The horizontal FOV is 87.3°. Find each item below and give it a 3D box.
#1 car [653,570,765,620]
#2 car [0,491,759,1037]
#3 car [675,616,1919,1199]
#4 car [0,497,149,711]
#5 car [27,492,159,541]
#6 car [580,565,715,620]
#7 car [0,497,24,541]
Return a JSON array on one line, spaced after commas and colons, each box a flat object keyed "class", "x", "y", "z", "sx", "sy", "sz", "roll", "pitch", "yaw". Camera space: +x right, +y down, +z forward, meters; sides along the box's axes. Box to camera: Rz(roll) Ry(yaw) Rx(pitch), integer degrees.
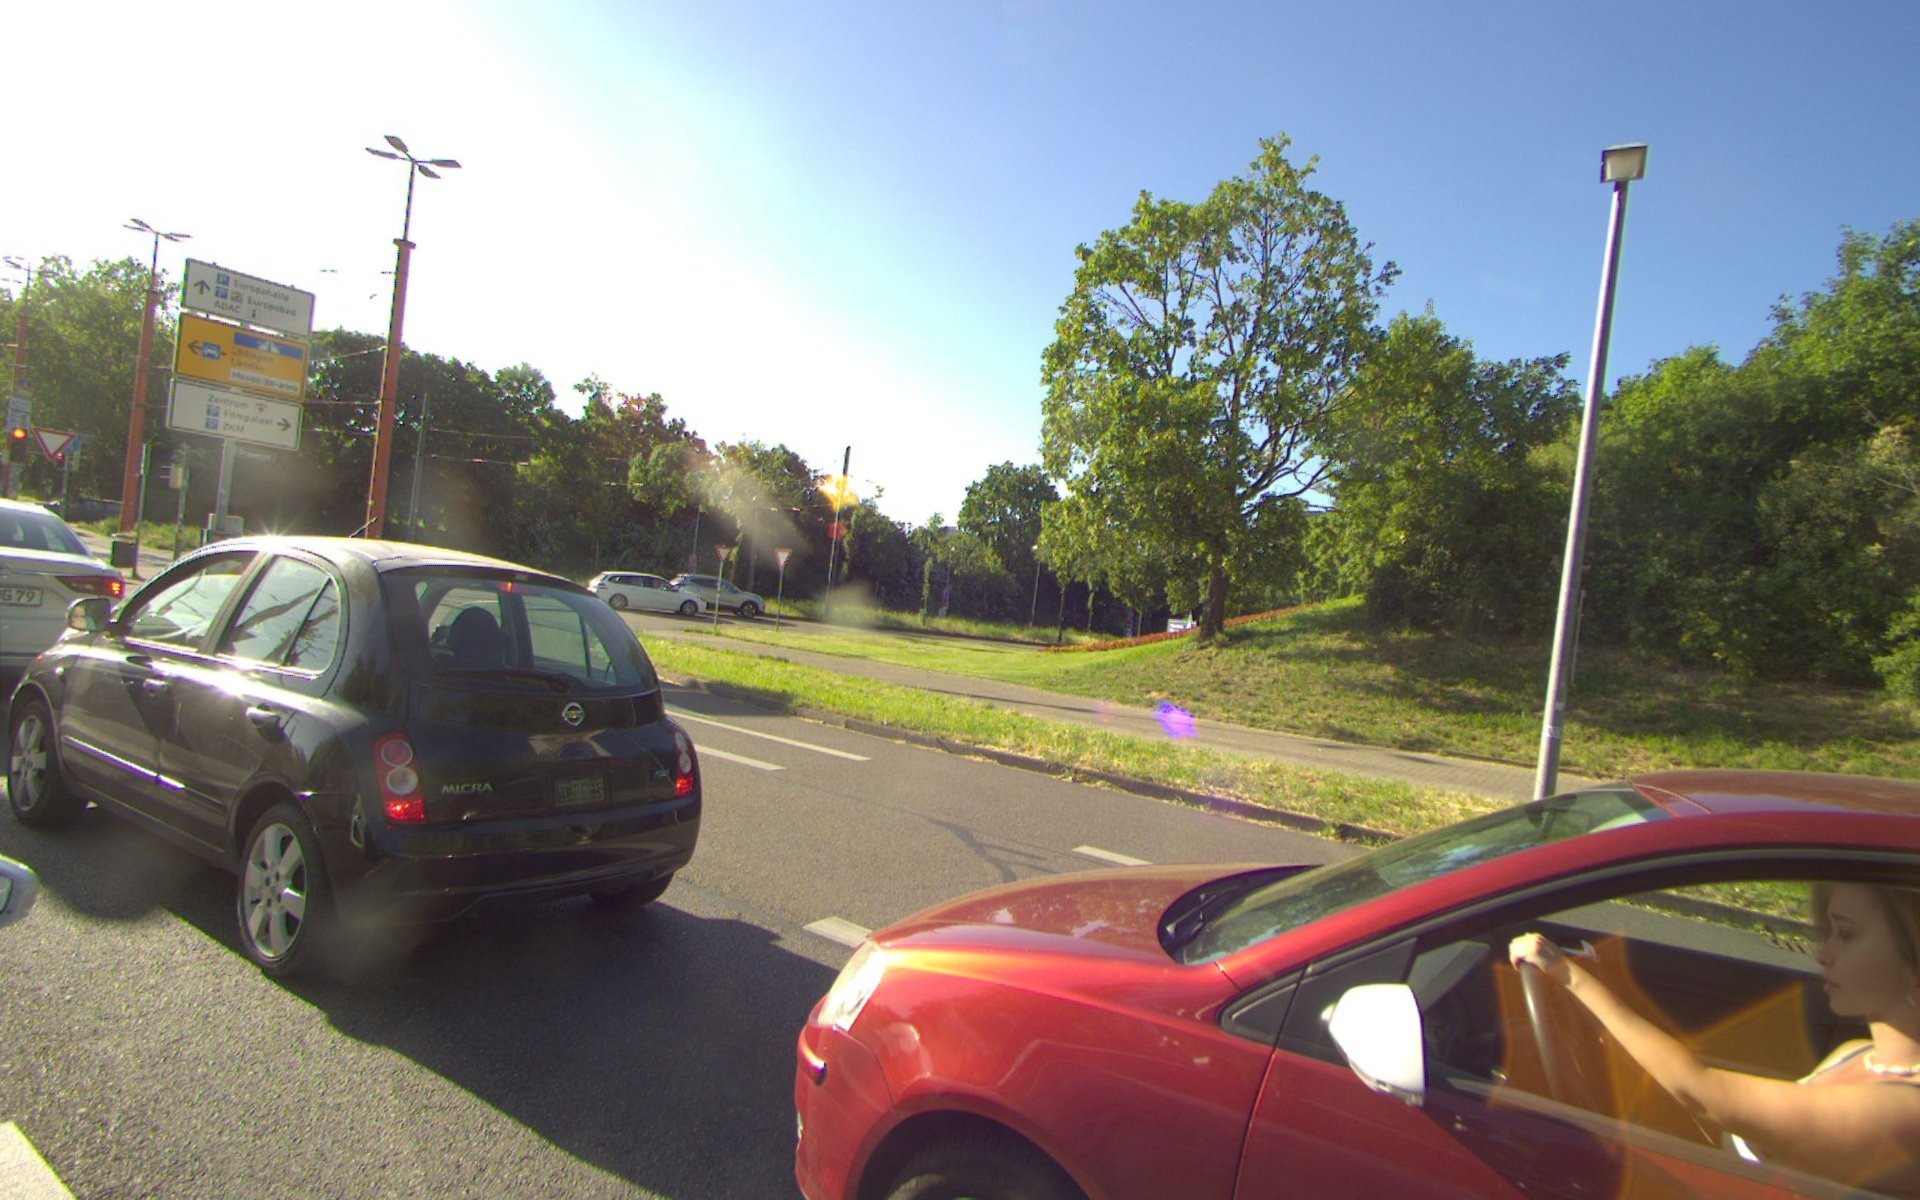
[{"class": "car", "x": -10.904, "y": -0.199, "z": 43.794, "sx": 4.318, "sy": 1.600, "sz": 1.758, "roll": 8, "pitch": -1, "yaw": -30}, {"class": "car", "x": -2.821, "y": 0.463, "z": 4.626, "sx": 3.457, "sy": 1.524, "sz": 1.558, "roll": 7, "pitch": 0, "yaw": 32}, {"class": "car", "x": 1.371, "y": 0.989, "z": 1.896, "sx": 3.634, "sy": 1.434, "sz": 1.624, "roll": 7, "pitch": -1, "yaw": 34}, {"class": "car", "x": -8.346, "y": -0.165, "z": 7.979, "sx": 4.077, "sy": 1.472, "sz": 1.717, "roll": 7, "pitch": -1, "yaw": 33}, {"class": "car", "x": -41.806, "y": -3.981, "z": 48.670, "sx": 4.423, "sy": 1.615, "sz": 1.983, "roll": 8, "pitch": -1, "yaw": -32}, {"class": "car", "x": -12.236, "y": -0.280, "z": 39.453, "sx": 4.718, "sy": 1.512, "sz": 1.758, "roll": 8, "pitch": -1, "yaw": -30}, {"class": "car", "x": -32.618, "y": -2.864, "z": 31.381, "sx": 4.617, "sy": 1.379, "sz": 1.758, "roll": 8, "pitch": -1, "yaw": -30}]
